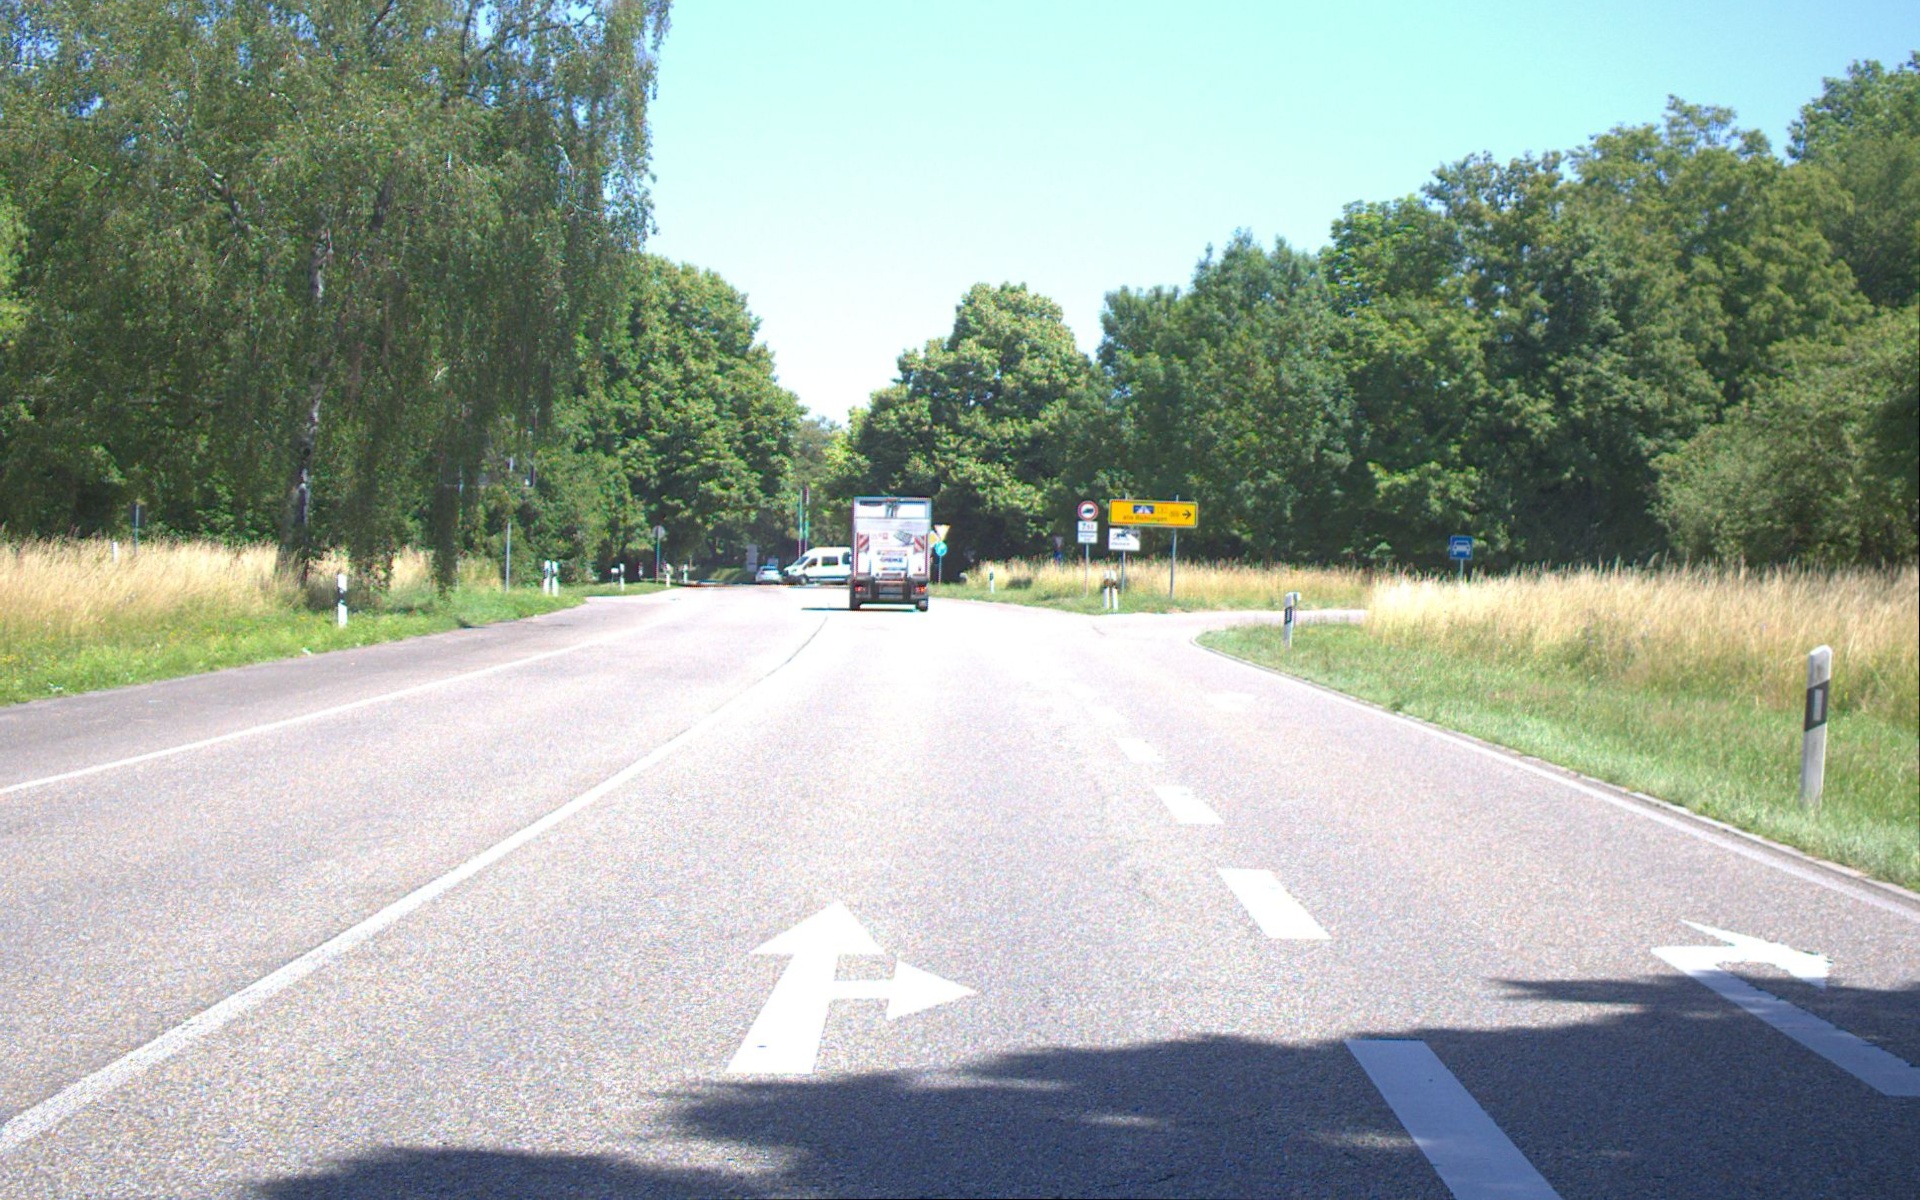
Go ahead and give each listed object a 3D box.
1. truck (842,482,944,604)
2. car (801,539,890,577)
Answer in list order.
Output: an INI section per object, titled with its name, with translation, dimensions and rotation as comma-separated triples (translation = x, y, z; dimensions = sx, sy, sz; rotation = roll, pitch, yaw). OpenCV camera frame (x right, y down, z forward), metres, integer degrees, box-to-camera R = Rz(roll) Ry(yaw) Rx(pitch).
[truck]
translation = -1.739, -1.535, 91.719
dimensions = 2.534, 3.124, 5.361
rotation = 1, 1, 0
[car]
translation = -8.263, -3.019, 248.894
dimensions = 6.765, 2.618, 2.079
rotation = 1, 0, -44
